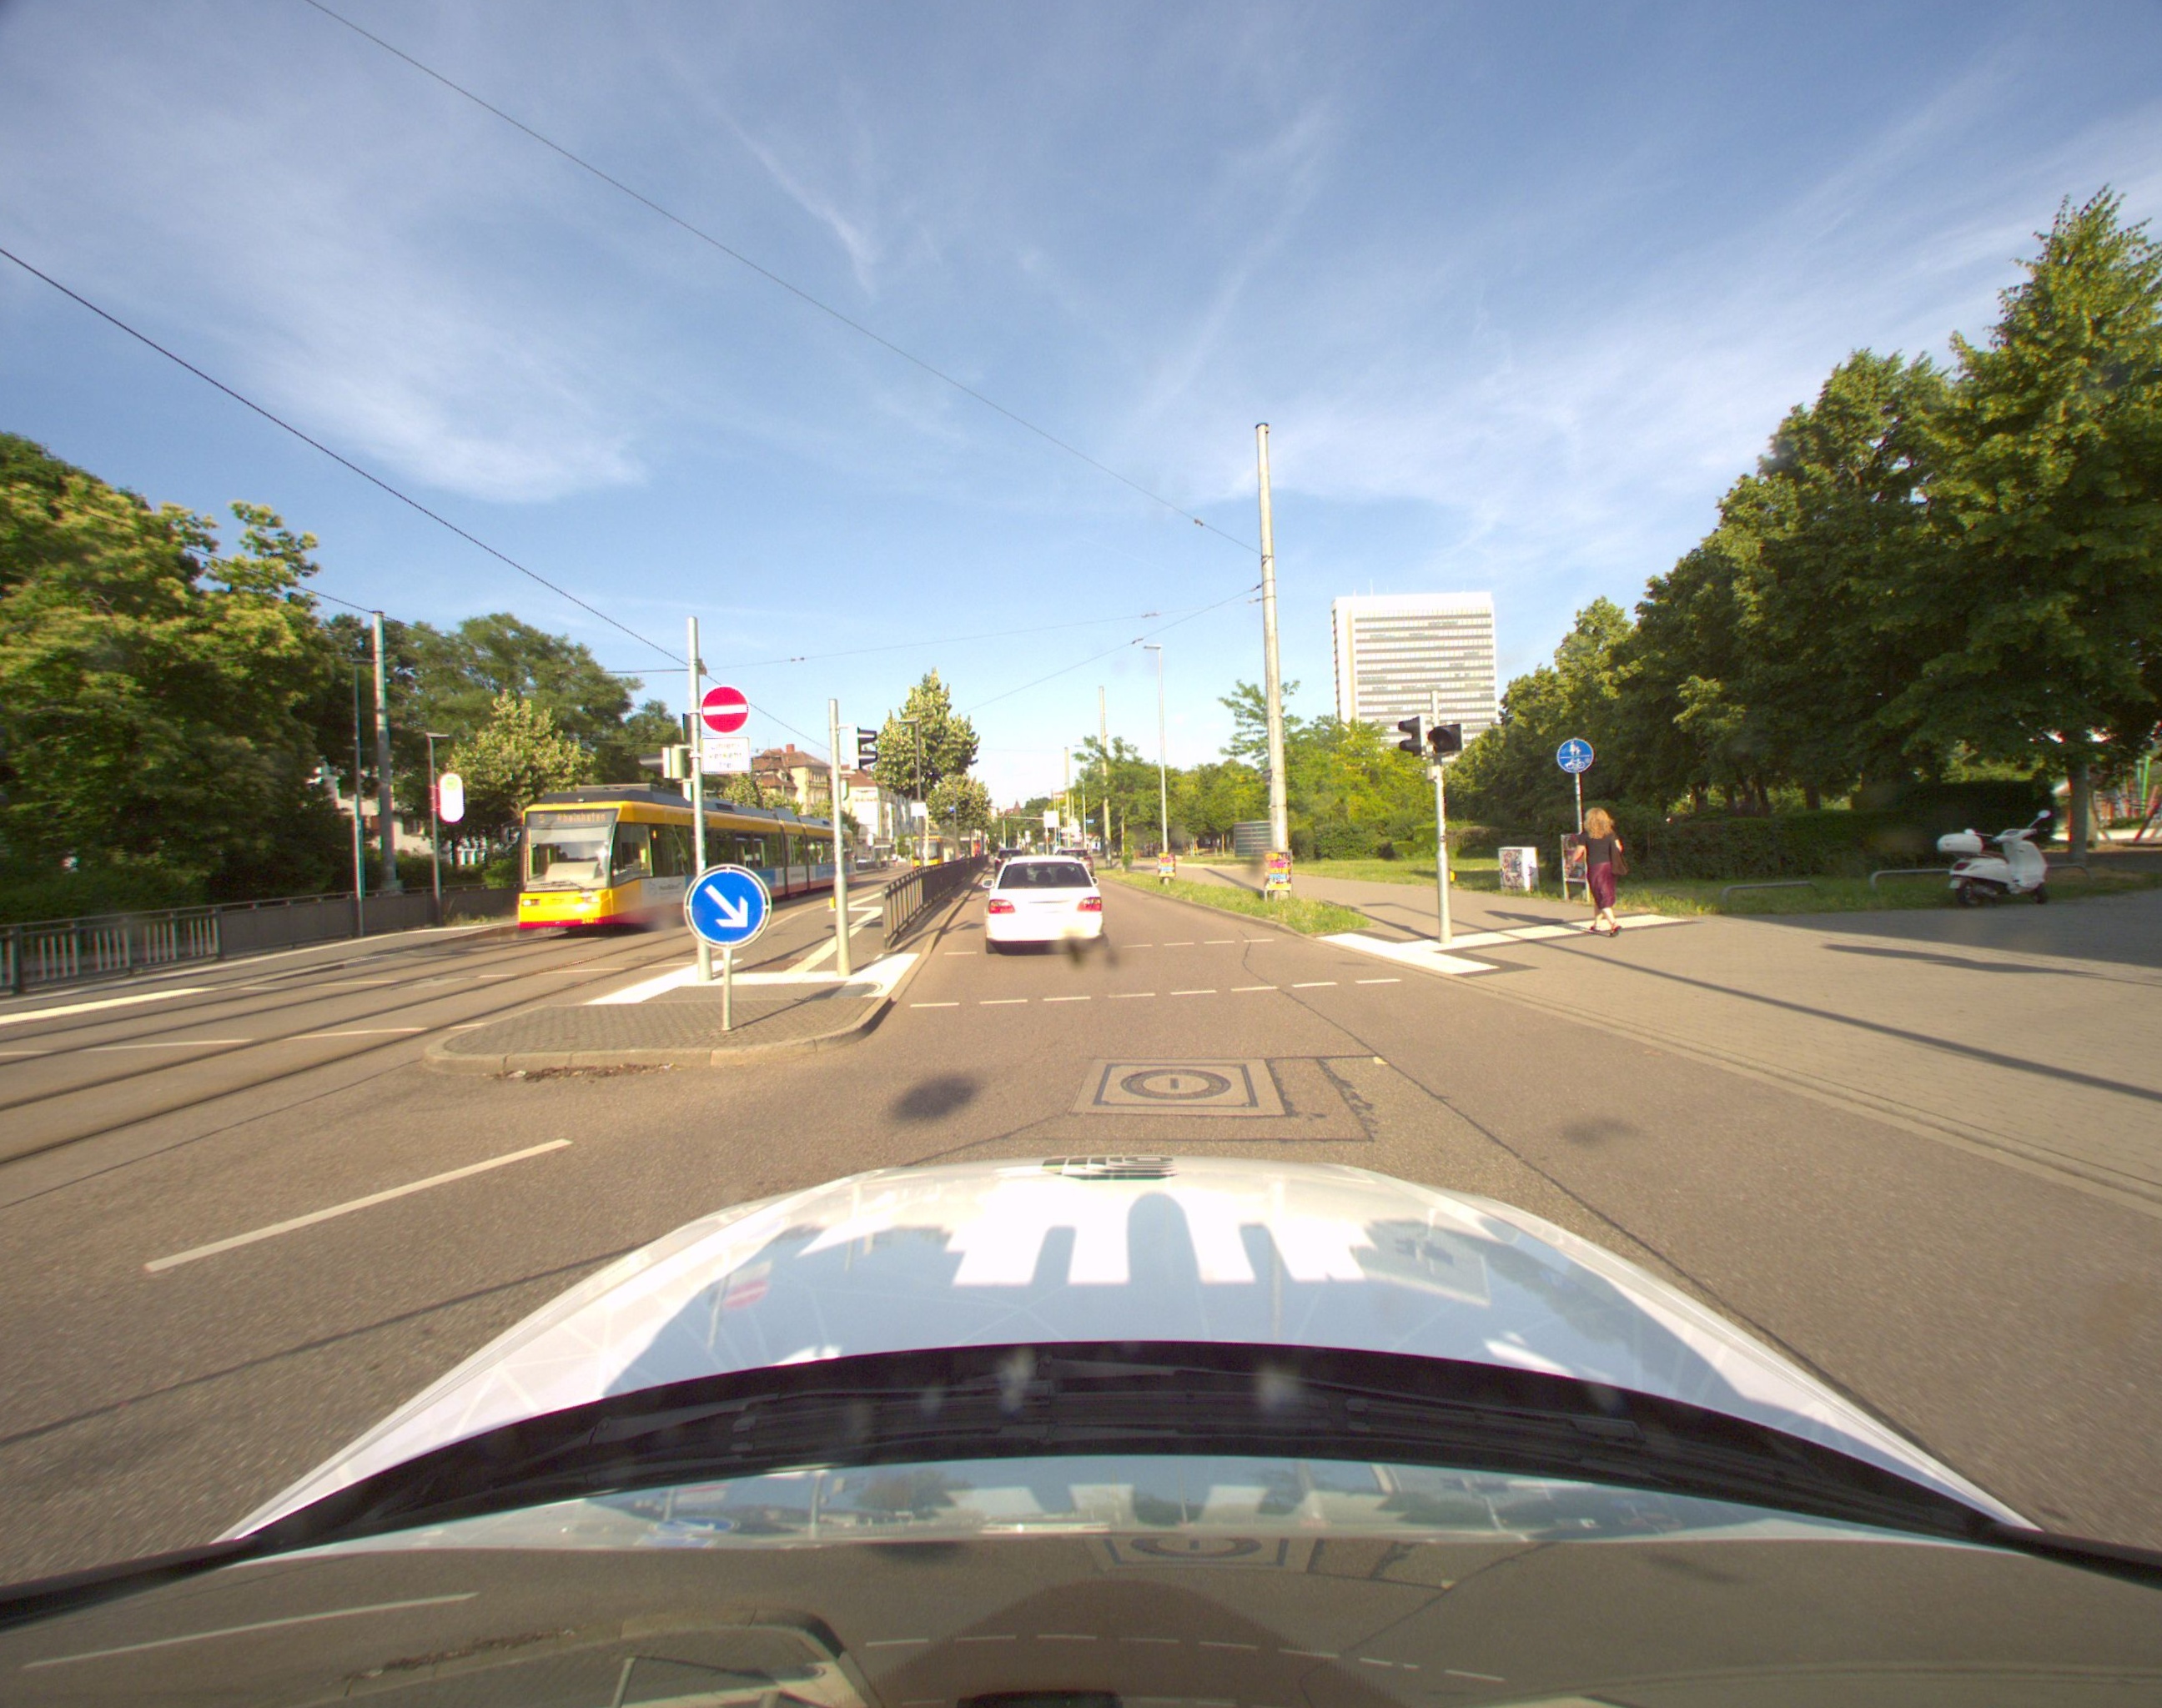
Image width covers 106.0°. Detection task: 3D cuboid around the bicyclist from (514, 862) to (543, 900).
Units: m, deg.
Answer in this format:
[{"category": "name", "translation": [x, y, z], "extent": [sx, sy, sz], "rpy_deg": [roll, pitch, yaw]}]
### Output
[{"category": "bicyclist", "translation": [-21.615, 1.049, 31.865], "extent": [0.649, 1.413, 0.716], "rpy_deg": [-1, 0, -3]}]

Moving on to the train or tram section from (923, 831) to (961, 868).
[{"category": "train or tram section", "translation": [-14.315, -0.518, 84.828], "extent": [2.845, 3.479, 13.175], "rpy_deg": [-1, 1, -5]}]

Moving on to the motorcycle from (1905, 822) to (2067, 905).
[{"category": "motorcycle", "translation": [13.530, 0.126, 12.192], "extent": [1.997, 1.159, 0.705], "rpy_deg": [-1, 0, -12]}]

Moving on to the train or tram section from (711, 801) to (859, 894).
[{"category": "train or tram section", "translation": [-13.206, -0.312, 38.151], "extent": [3.158, 3.479, 14.438], "rpy_deg": [-1, 1, -7]}]

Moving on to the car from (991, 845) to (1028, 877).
[{"category": "car", "translation": [-3.972, 0.372, 45.827], "extent": [1.782, 1.689, 3.998], "rpy_deg": [-1, 1, -1]}]

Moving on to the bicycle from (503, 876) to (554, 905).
[{"category": "bicycle", "translation": [-21.661, 1.414, 31.980], "extent": [0.540, 1.018, 2.248], "rpy_deg": [-1, 1, -2]}]

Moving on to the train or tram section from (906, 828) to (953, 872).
[{"category": "train or tram section", "translation": [-13.164, -0.374, 71.942], "extent": [2.845, 3.479, 13.175], "rpy_deg": [-1, 1, -5]}]

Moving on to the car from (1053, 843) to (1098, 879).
[{"category": "car", "translation": [-0.294, 0.297, 39.709], "extent": [2.027, 1.605, 3.998], "rpy_deg": [-1, 1, -2]}]

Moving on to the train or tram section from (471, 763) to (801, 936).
[{"category": "train or tram section", "translation": [-11.545, -0.184, 23.873], "extent": [3.158, 3.479, 14.499], "rpy_deg": [-1, 1, -7]}]

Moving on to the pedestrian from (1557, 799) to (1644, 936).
[{"category": "pedestrian", "translation": [6.828, 0.170, 10.730], "extent": [0.613, 1.692, 0.548], "rpy_deg": [-7, 1, -2]}]

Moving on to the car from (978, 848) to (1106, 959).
[{"category": "car", "translation": [-0.558, 0.720, 13.342], "extent": [1.753, 1.503, 3.998], "rpy_deg": [-1, -1, 0]}]
